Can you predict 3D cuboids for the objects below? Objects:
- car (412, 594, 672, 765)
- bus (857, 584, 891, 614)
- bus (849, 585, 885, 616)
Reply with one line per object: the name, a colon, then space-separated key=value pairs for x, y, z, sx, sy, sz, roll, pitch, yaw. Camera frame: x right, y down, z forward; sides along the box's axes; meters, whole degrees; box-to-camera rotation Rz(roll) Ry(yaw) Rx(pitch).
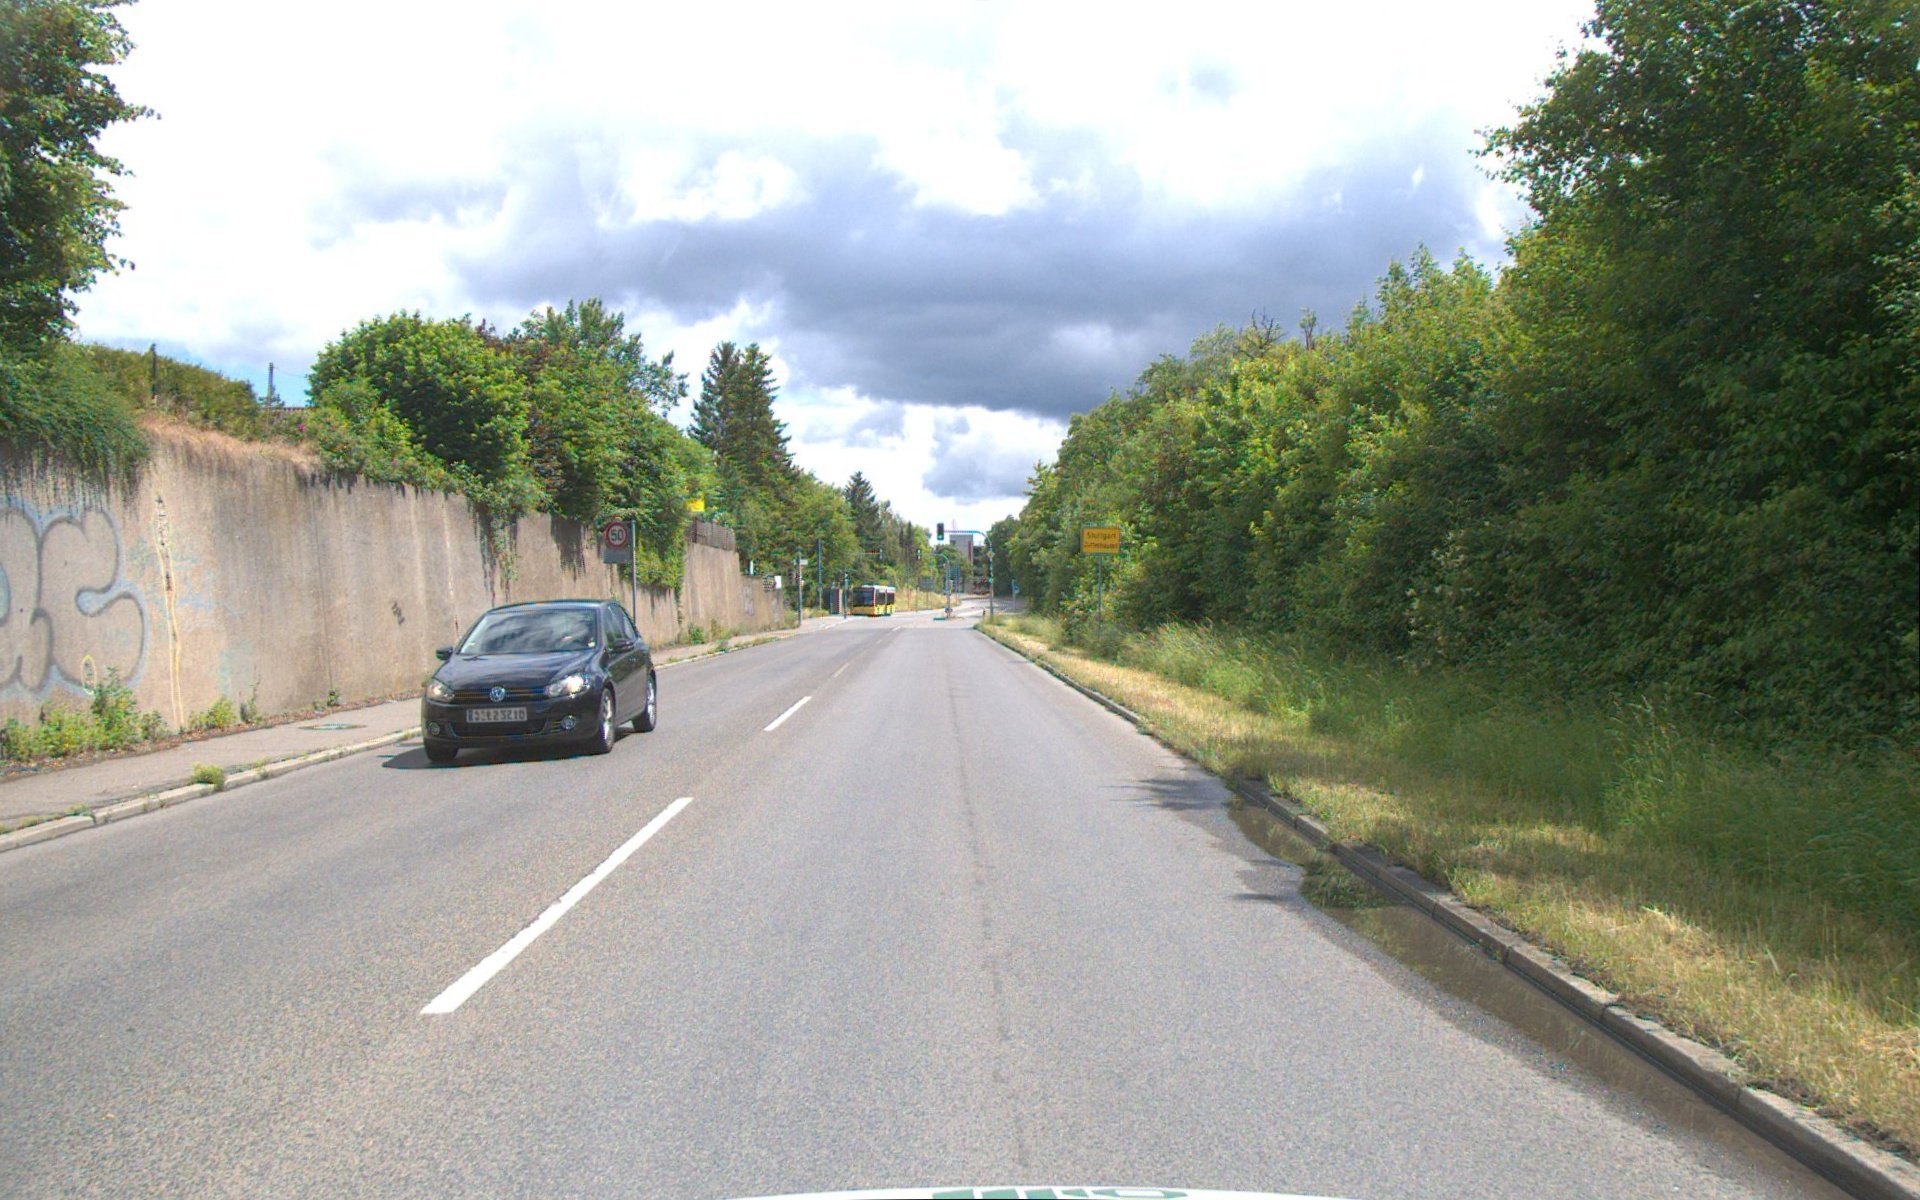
car: x=-4.142 y=0.710 z=17.008 sx=1.716 sy=1.489 sz=3.999 roll=-1 pitch=0 yaw=-2
bus: x=-9.016 y=-0.112 z=174.914 sx=2.834 sy=2.949 sz=7.670 roll=1 pitch=1 yaw=2
bus: x=-9.340 y=0.038 z=167.234 sx=2.834 sy=2.949 sz=7.670 roll=1 pitch=1 yaw=2
